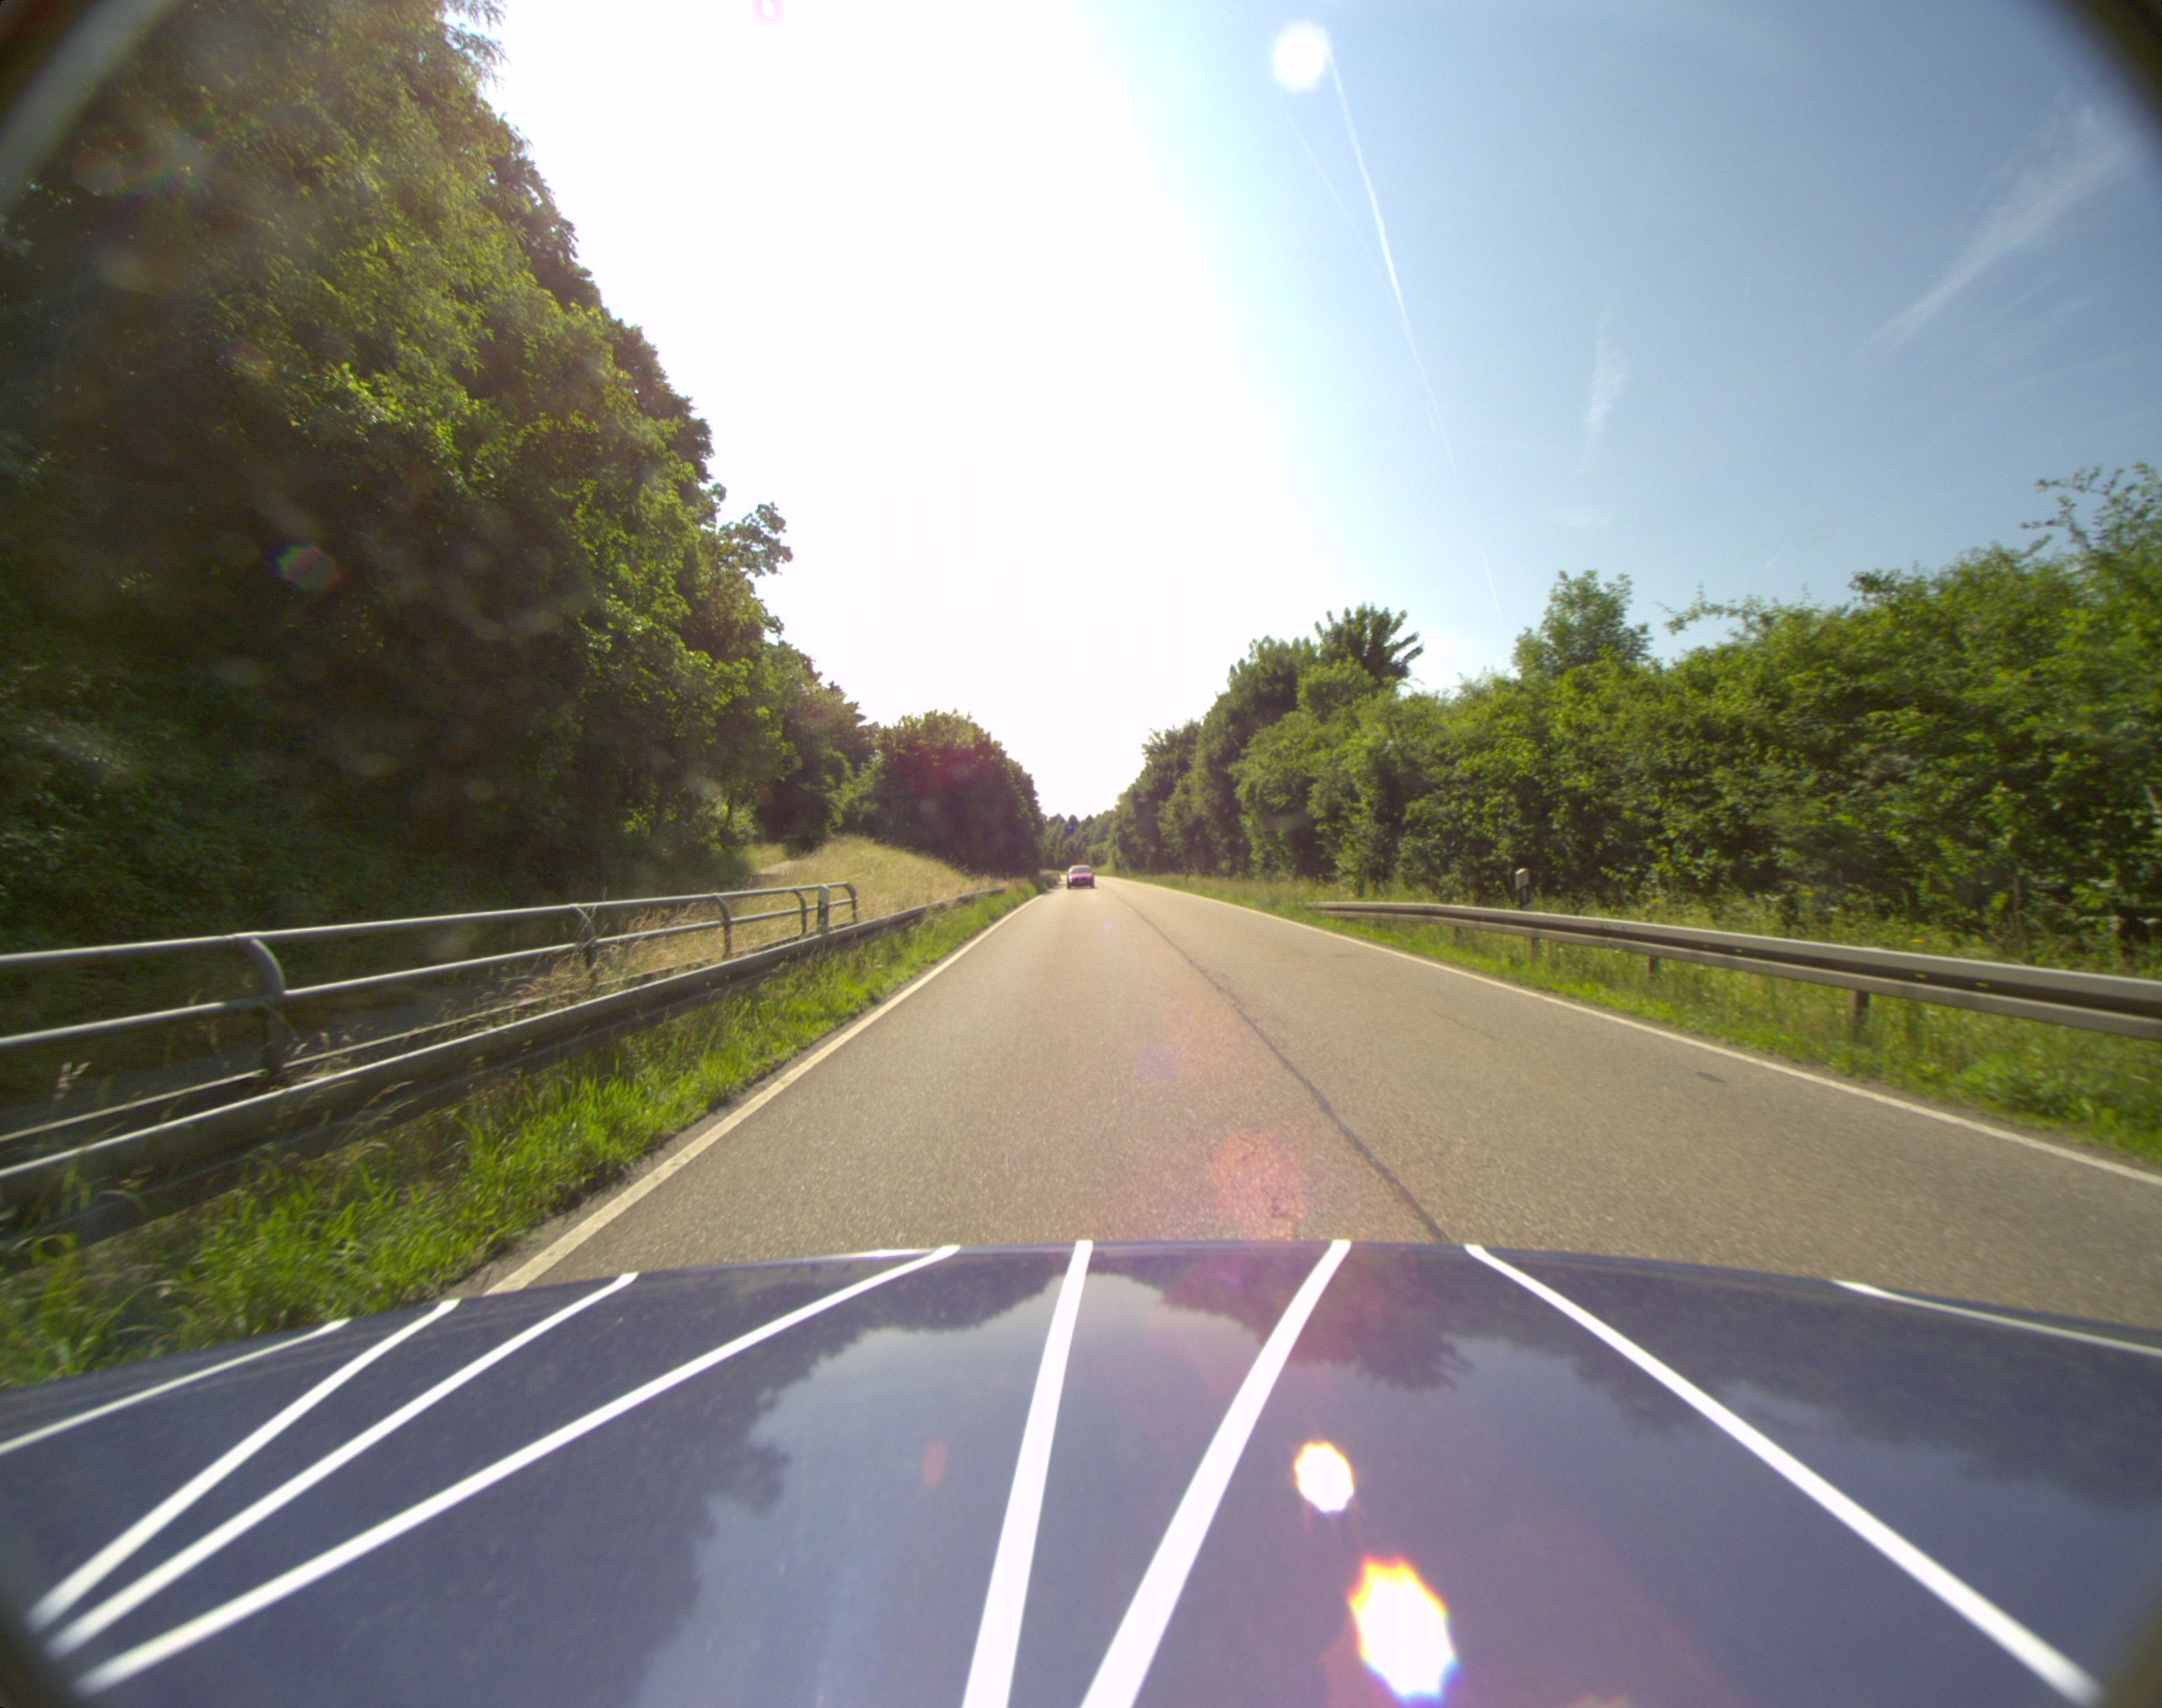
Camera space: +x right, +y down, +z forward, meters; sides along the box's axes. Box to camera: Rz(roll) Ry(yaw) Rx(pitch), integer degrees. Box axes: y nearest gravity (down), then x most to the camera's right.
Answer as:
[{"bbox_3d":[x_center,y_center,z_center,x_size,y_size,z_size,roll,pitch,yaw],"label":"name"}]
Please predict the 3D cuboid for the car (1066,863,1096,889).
[{"bbox_3d":[-0.028,1.379,49.621,1.816,1.488,4.284,-1,1,-1],"label":"car"}]
